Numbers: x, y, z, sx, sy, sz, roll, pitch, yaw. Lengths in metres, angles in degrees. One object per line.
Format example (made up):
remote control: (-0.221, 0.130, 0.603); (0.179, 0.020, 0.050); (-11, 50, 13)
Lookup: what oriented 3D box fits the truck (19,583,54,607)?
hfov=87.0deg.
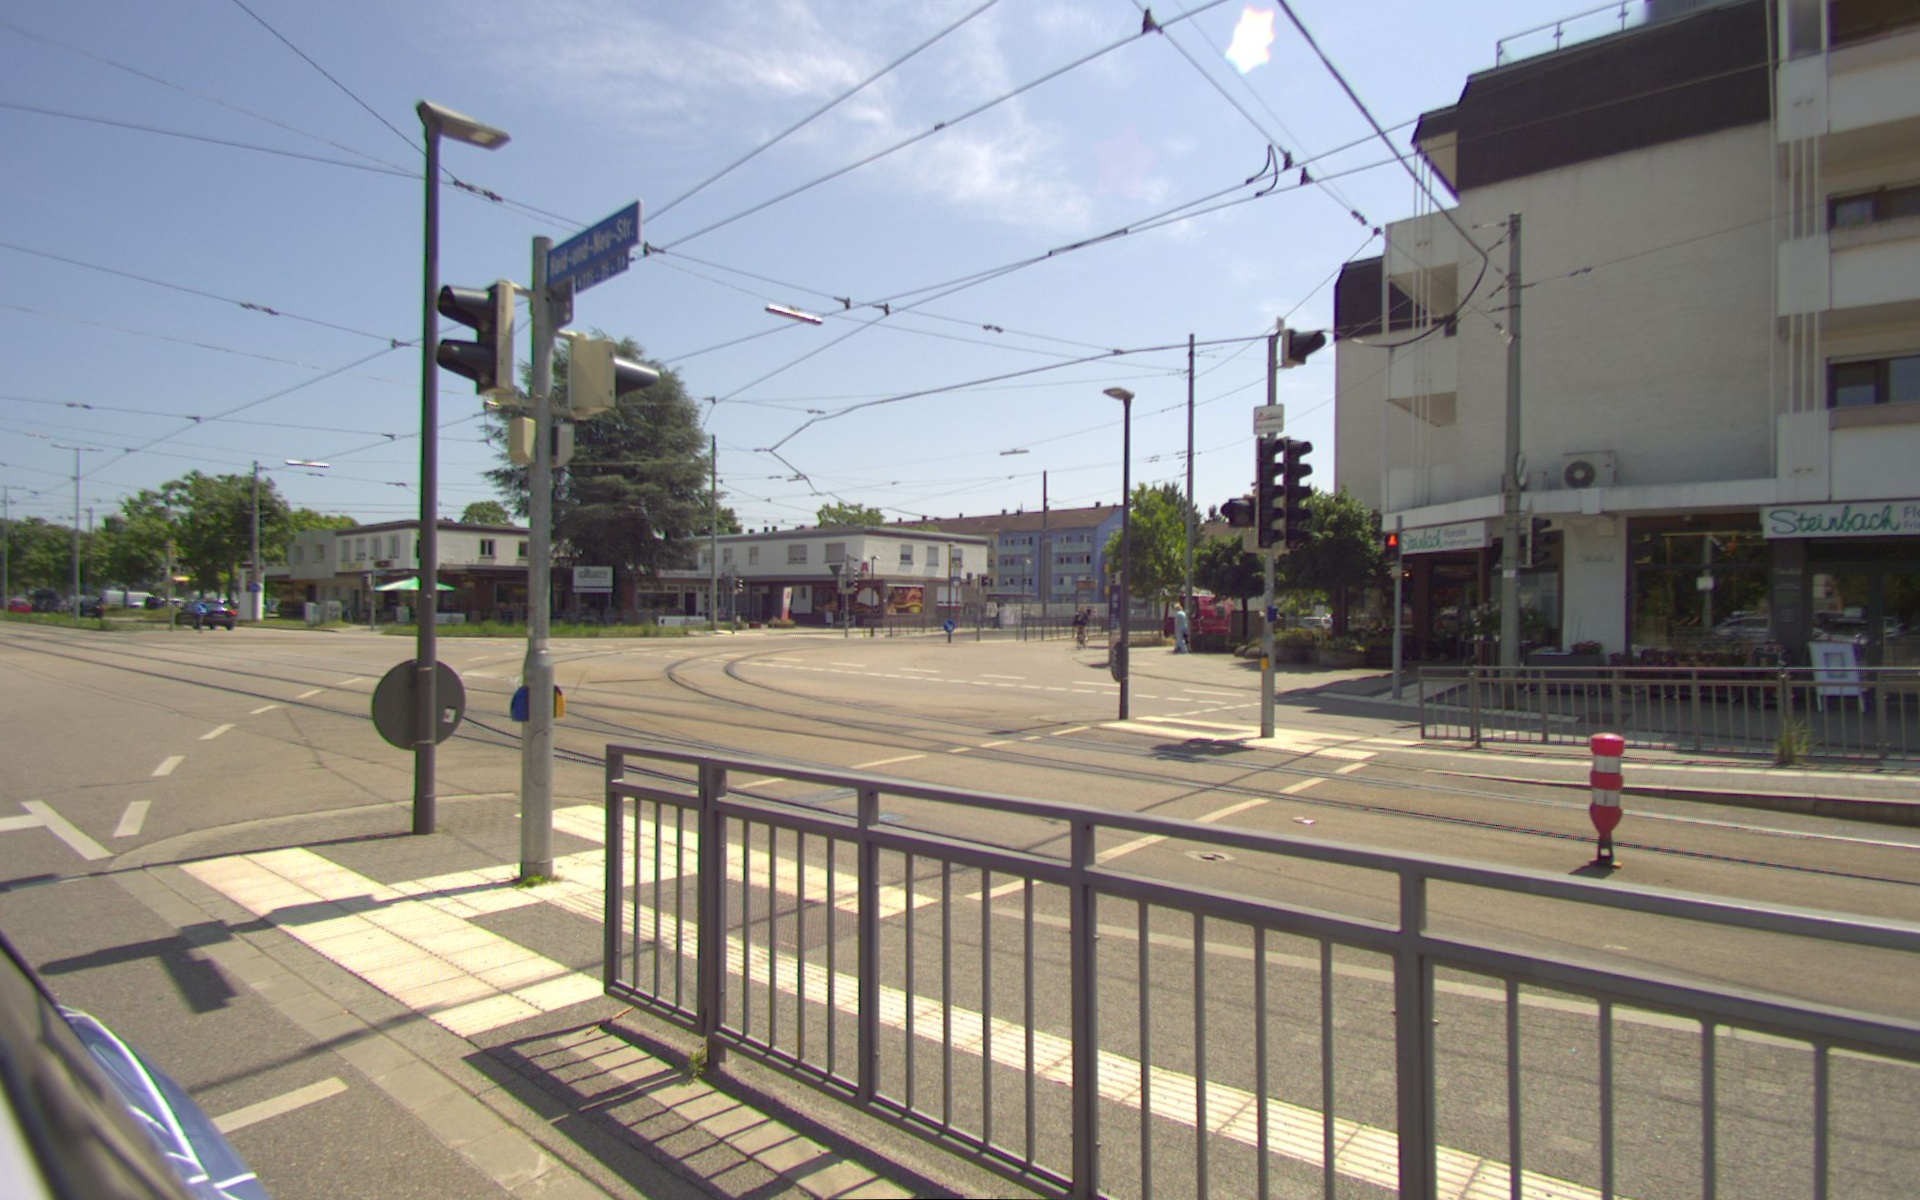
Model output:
truck: (-101.311, -0.549, 110.994); (4.926, 2.560, 2.197); (0, -1, 41)

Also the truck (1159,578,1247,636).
truck: (12.023, 0.390, 49.863); (2.186, 2.719, 4.974); (0, -1, 40)

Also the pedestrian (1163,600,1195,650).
pedestrian: (7.564, 0.855, 34.914); (0.690, 1.709, 0.809); (2, -1, -37)

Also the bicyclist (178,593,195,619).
bicyclist: (-53.707, 0.455, 70.274); (1.136, 1.779, 0.687); (-1, -2, 40)

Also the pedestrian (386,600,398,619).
pedestrian: (-39.267, 0.656, 69.927); (0.491, 1.248, 0.569); (0, -1, 40)

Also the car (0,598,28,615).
car: (-88.889, 0.598, 94.831); (3.821, 1.495, 1.609); (0, -1, 36)

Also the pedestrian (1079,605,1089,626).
pedestrian: (11.144, 1.398, 90.797); (0.679, 1.917, 0.640); (0, -1, 40)

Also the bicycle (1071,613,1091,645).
bicycle: (5.035, 1.201, 42.207); (0.670, 1.314, 2.103); (2, -1, 3)

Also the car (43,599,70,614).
car: (-89.313, 0.633, 100.026); (3.568, 1.397, 1.653); (0, -1, 42)

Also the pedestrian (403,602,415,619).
pedestrian: (-38.935, 0.768, 71.512); (0.674, 1.172, 0.512); (0, -1, 40)

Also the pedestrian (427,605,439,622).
pedestrian: (-34.298, 0.870, 65.864); (0.674, 1.136, 0.512); (0, -1, 40)

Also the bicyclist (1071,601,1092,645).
bicyclist: (5.041, 0.964, 42.084); (0.725, 1.776, 1.134); (2, -1, 3)

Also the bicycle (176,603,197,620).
bicycle: (-53.719, 0.784, 70.279); (1.930, 1.157, 0.687); (-1, -2, 40)

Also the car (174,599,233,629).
car: (-42.087, 0.769, 56.287); (4.494, 1.591, 1.774); (0, -1, 42)

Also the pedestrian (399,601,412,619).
pedestrian: (-38.411, 0.685, 70.098); (0.674, 1.208, 0.512); (0, -1, 40)

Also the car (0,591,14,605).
car: (-124.062, -0.236, 131.190); (3.820, 1.716, 1.660); (0, -1, 40)

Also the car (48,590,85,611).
car: (-84.638, 0.075, 95.856); (4.659, 1.898, 1.973); (0, -1, 41)

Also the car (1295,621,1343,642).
car: (22.044, 1.942, 62.107); (1.589, 1.249, 3.532); (0, -1, 41)

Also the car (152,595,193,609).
car: (-90.692, 0.193, 116.558); (1.600, 1.517, 3.375); (0, -1, 35)

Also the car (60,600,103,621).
car: (-64.557, 0.766, 74.349); (3.860, 1.449, 1.693); (0, -1, 38)

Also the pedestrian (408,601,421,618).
pedestrian: (-38.018, 0.672, 70.533); (0.674, 1.218, 0.512); (0, -1, 40)

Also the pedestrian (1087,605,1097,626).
pedestrian: (11.789, 1.394, 90.286); (0.679, 1.917, 0.640); (0, -1, 40)

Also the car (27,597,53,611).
car: (-96.948, 0.403, 106.631); (3.669, 1.397, 1.653); (0, -1, 42)

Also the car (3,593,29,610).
car: (-112.037, 0.173, 120.063); (4.505, 1.989, 1.660); (0, -1, 40)
